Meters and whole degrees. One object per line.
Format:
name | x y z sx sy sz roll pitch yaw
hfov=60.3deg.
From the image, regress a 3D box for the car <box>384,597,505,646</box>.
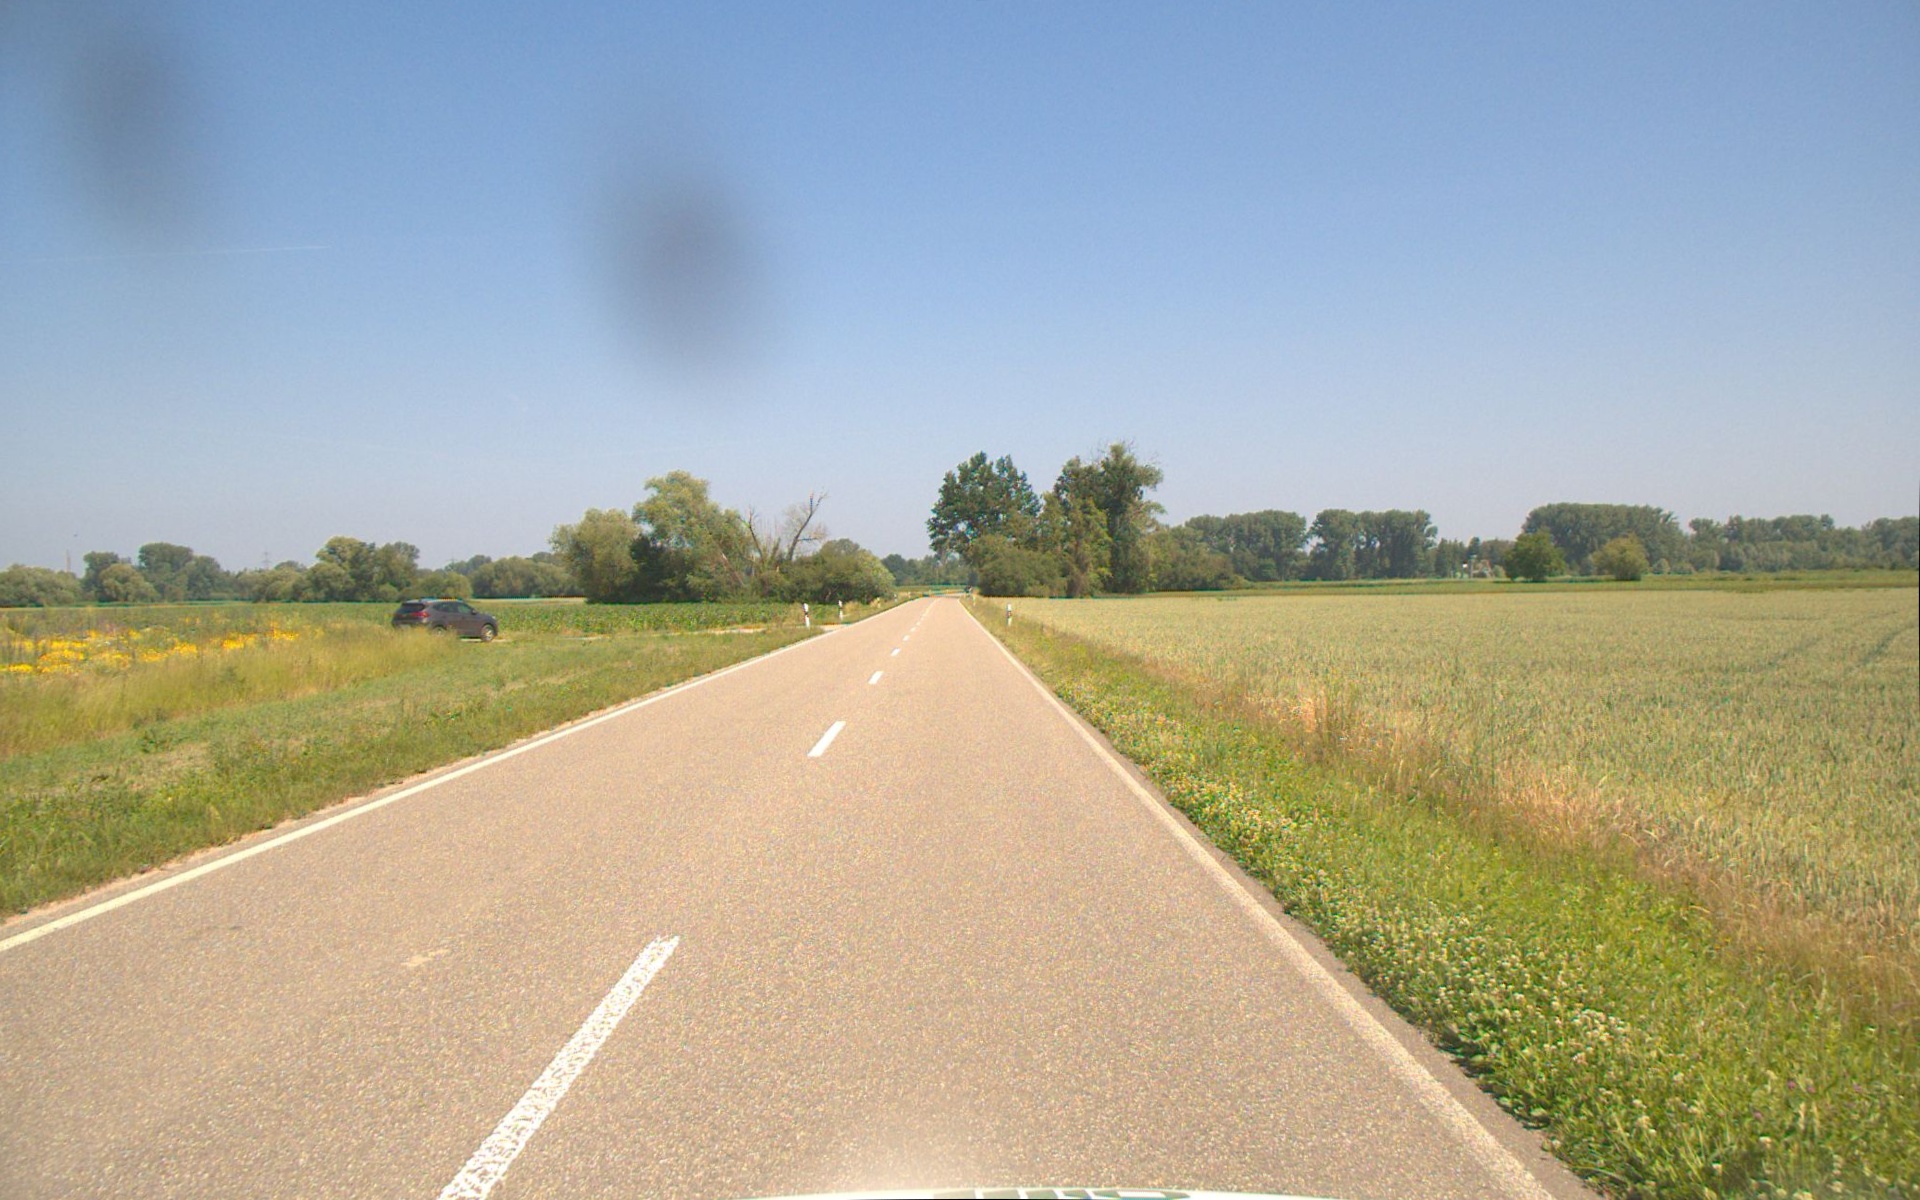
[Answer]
car | -19.316 0.794 62.191 1.718 1.680 4.527 -1 1 25
